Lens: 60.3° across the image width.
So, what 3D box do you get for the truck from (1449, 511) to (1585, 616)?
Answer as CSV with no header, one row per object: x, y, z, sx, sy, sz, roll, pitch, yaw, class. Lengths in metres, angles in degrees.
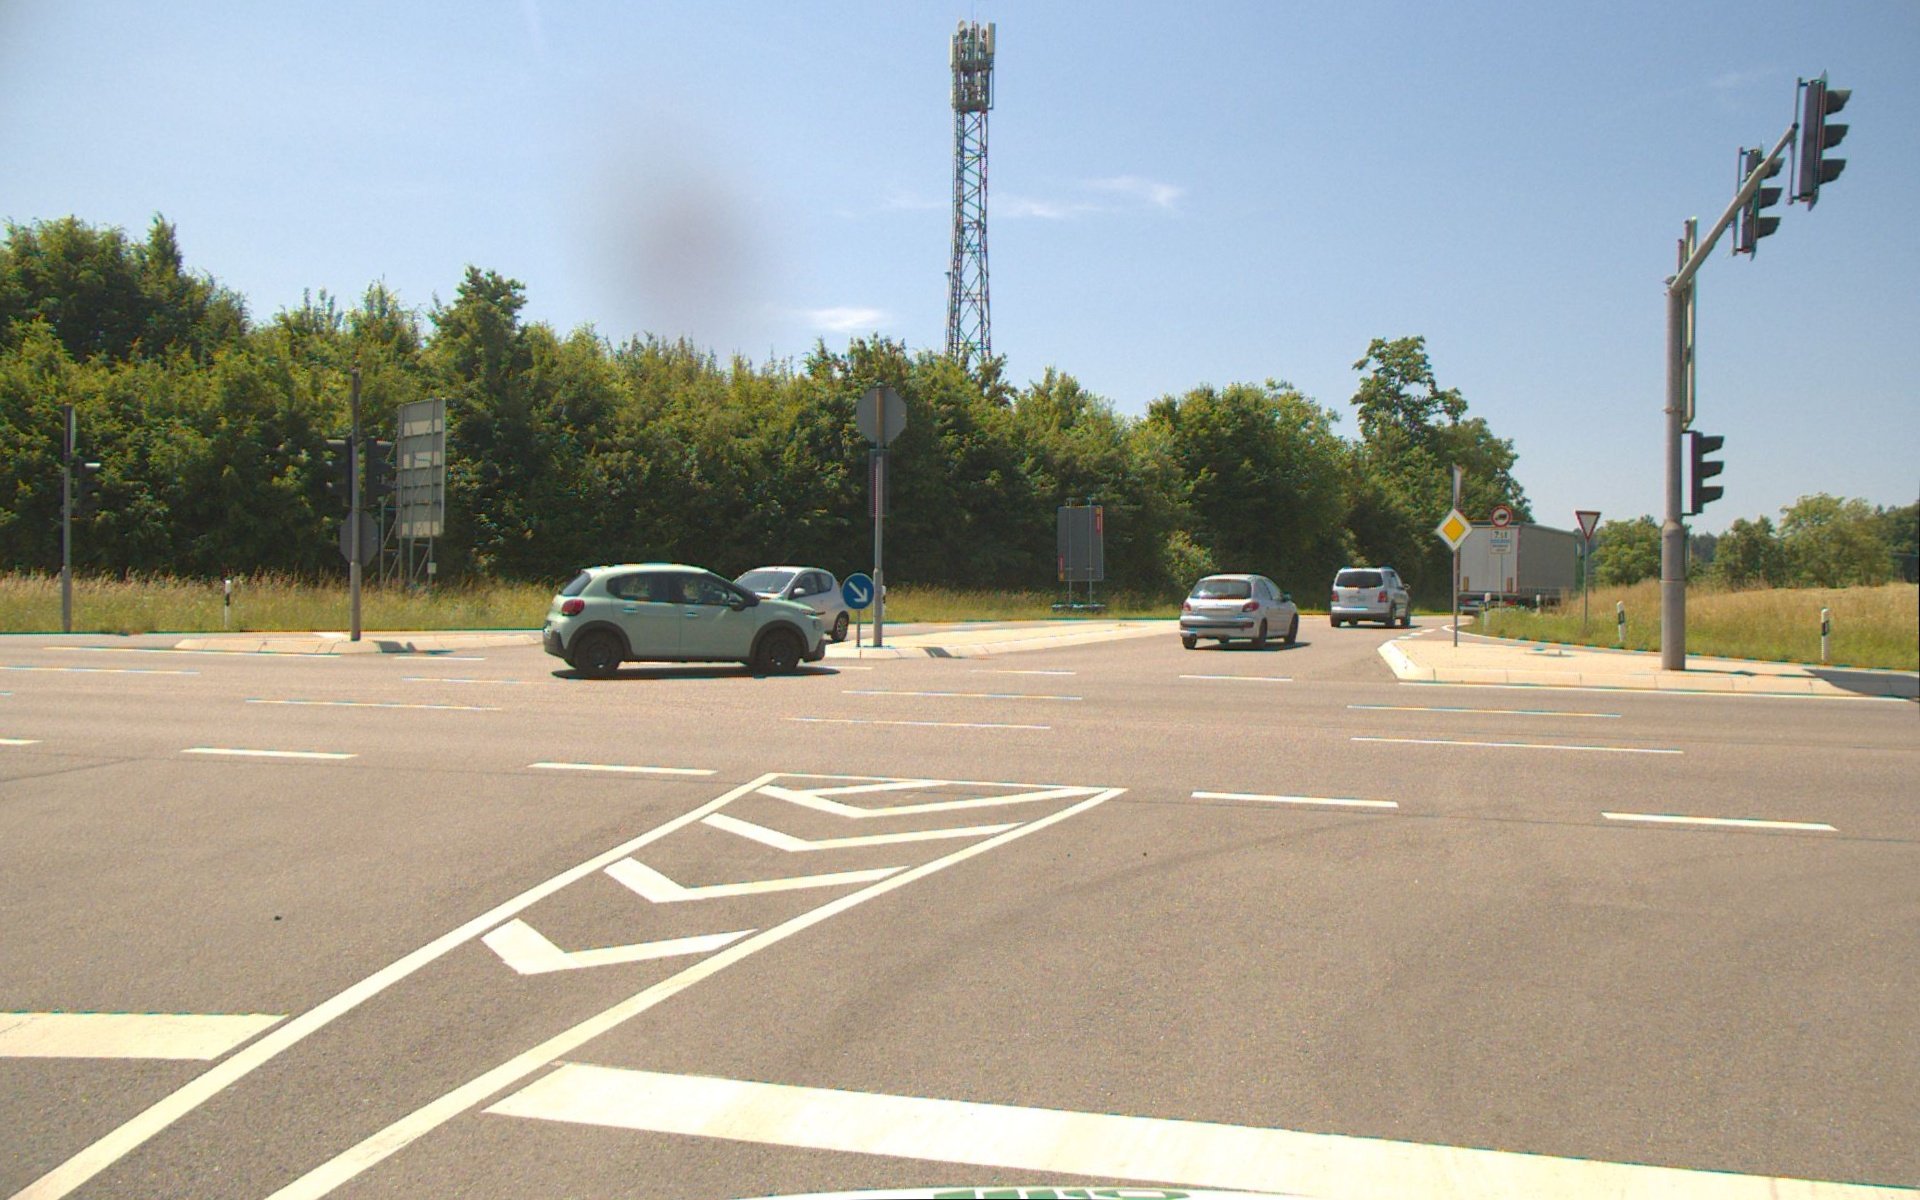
25.662,-1.553,75.384,3.066,4.245,16.661,1,1,28,truck

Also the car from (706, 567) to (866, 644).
-3.386,0.063,32.701,1.534,1.394,3.528,1,2,26,car

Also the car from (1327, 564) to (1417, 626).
11.819,-0.183,47.320,1.776,1.653,4.058,0,2,25,car

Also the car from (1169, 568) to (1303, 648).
5.587,0.115,33.119,1.776,1.437,3.782,1,2,24,car

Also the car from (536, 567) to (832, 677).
-3.912,0.259,23.362,3.914,1.428,1.725,0,2,-20,car
